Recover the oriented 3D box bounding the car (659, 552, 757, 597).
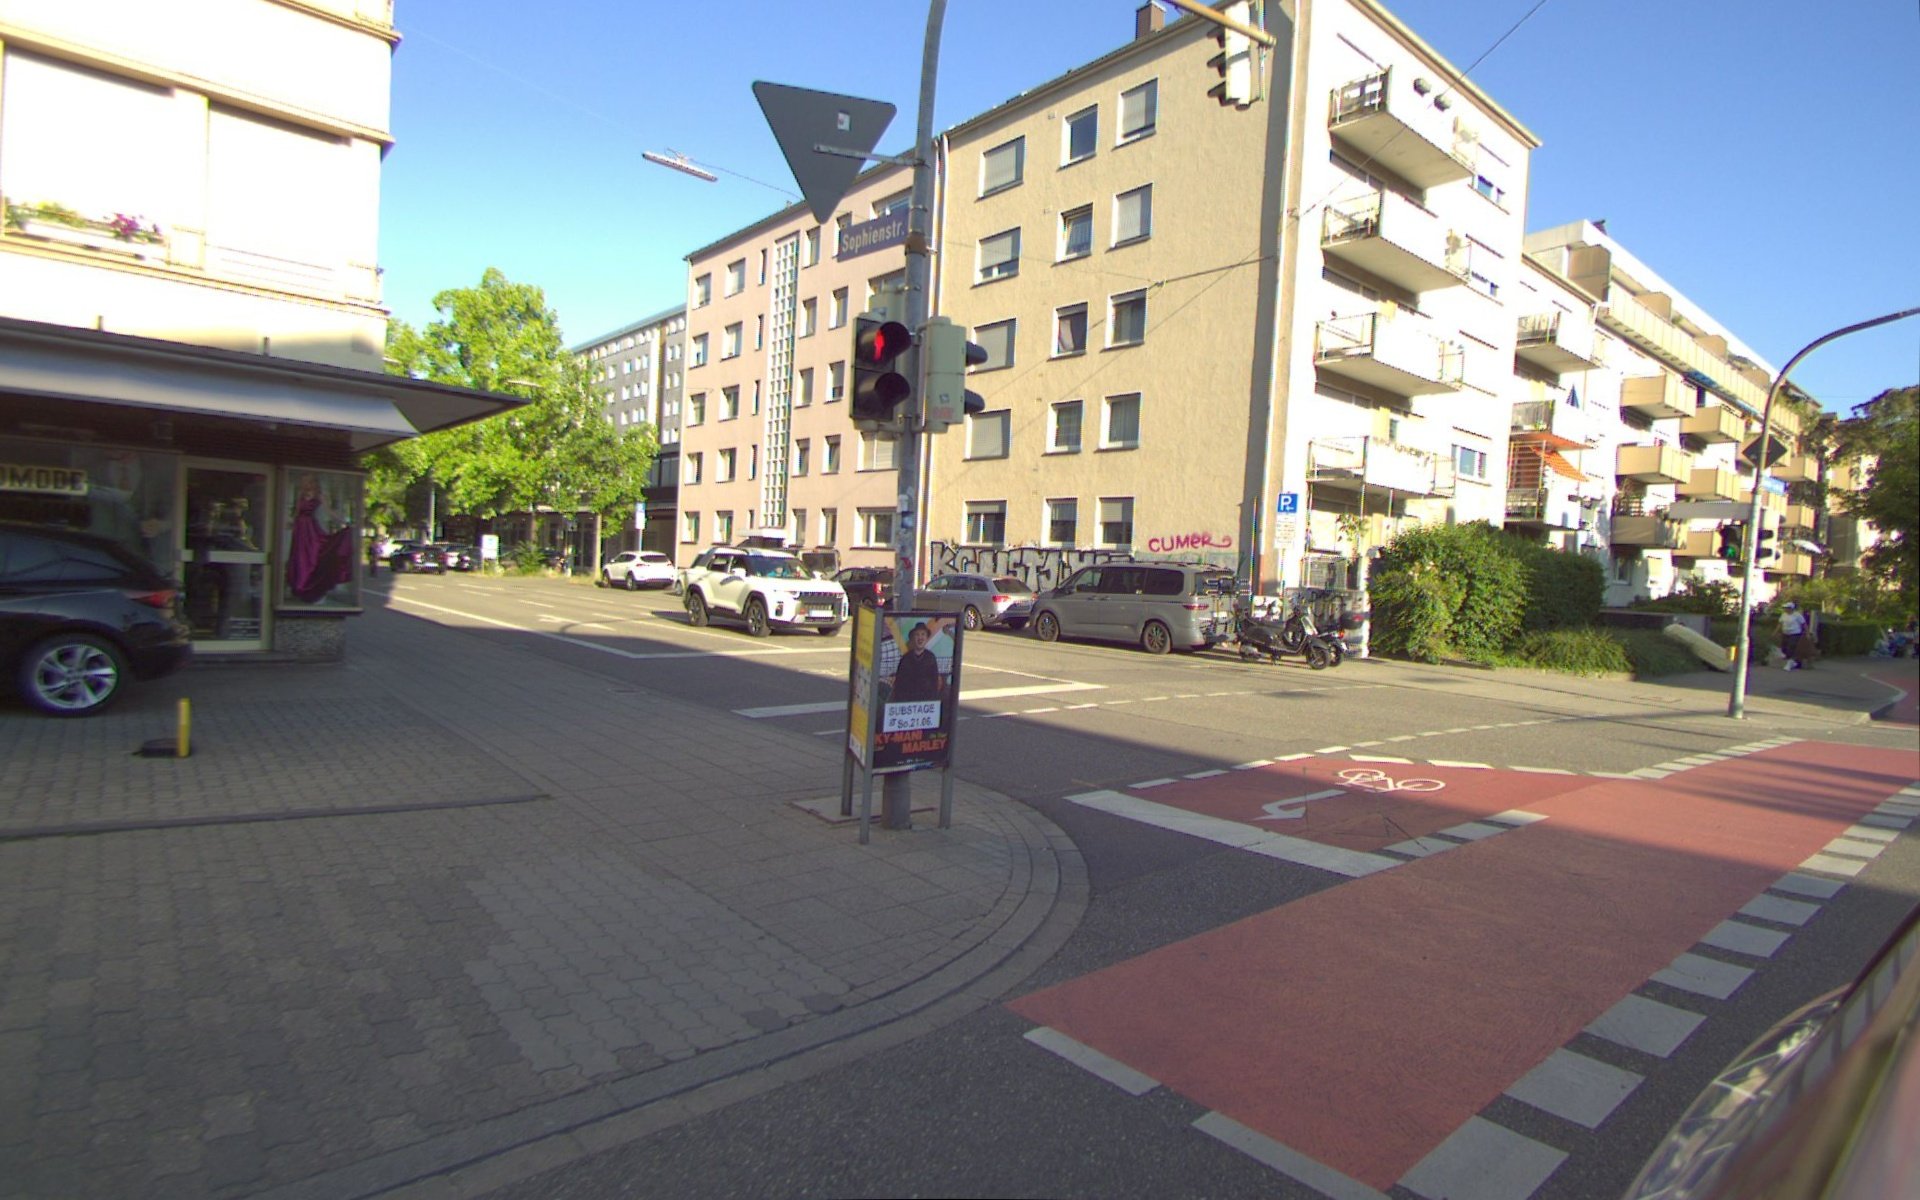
[{"bbox_3d":[-9.740,-1.013,38.935,1.919,1.560,4.287,0,3,-41],"label":"car"}]

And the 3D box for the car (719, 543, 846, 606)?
[{"bbox_3d":[-6.148,-0.912,34.613,1.919,1.930,5.072,1,2,-41],"label":"car"}]

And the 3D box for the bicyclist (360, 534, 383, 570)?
[{"bbox_3d":[-25.187,-2.050,43.306,0.730,1.521,0.883,2,2,-35],"label":"bicyclist"}]

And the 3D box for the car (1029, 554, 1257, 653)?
[{"bbox_3d":[3.957,-0.020,22.645,1.920,1.888,4.837,0,3,-42],"label":"car"}]

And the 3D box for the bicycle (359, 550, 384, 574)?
[{"bbox_3d":[-25.159,-1.622,43.239,0.730,0.932,2.400,2,2,-35],"label":"bicycle"}]

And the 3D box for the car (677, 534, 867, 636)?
[{"bbox_3d":[-3.992,-0.372,20.914,1.918,1.860,4.351,1,2,-40],"label":"car"}]

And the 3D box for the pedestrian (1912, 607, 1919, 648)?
[{"bbox_3d":[40.251,1.170,42.137,0.815,1.703,0.661,2,2,-35],"label":"pedestrian"}]

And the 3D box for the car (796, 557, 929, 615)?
[{"bbox_3d":[-3.053,-0.467,30.992,1.919,1.560,4.287,0,3,-41],"label":"car"}]

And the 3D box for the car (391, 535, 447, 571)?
[{"bbox_3d":[-27.689,-2.409,51.731,1.916,1.681,4.355,2,2,-37],"label":"car"}]

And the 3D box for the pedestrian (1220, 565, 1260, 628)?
[{"bbox_3d":[6.441,-0.076,23.279,0.584,1.408,0.641,1,1,-41],"label":"pedestrian"}]

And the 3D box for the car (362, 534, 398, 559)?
[{"bbox_3d":[-41.143,-3.803,71.737,1.915,1.681,4.359,2,2,-33],"label":"car"}]

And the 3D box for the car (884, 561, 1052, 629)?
[{"bbox_3d":[0.133,-0.208,27.374,1.920,1.560,4.616,0,3,-42],"label":"car"}]

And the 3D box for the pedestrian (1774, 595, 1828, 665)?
[{"bbox_3d":[21.416,0.759,25.787,0.648,1.703,0.831,2,2,-36],"label":"pedestrian"}]

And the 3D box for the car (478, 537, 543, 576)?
[{"bbox_3d":[-23.758,-2.331,53.455,1.919,1.860,4.350,1,2,-41],"label":"car"}]

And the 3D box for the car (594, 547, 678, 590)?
[{"bbox_3d":[-14.177,-1.384,44.143,1.919,1.681,4.350,1,2,-41],"label":"car"}]

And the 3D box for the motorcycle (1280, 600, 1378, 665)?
[{"bbox_3d":[7.172,0.612,19.739,0.584,1.125,1.698,1,2,-39],"label":"motorcycle"}]

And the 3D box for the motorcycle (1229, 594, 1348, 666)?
[{"bbox_3d":[6.230,0.542,19.238,1.981,1.215,0.764,3,2,38],"label":"motorcycle"}]

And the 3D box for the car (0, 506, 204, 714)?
[{"bbox_3d":[-8.185,0.012,7.408,4.129,1.502,1.832,1,2,-40],"label":"car"}]
